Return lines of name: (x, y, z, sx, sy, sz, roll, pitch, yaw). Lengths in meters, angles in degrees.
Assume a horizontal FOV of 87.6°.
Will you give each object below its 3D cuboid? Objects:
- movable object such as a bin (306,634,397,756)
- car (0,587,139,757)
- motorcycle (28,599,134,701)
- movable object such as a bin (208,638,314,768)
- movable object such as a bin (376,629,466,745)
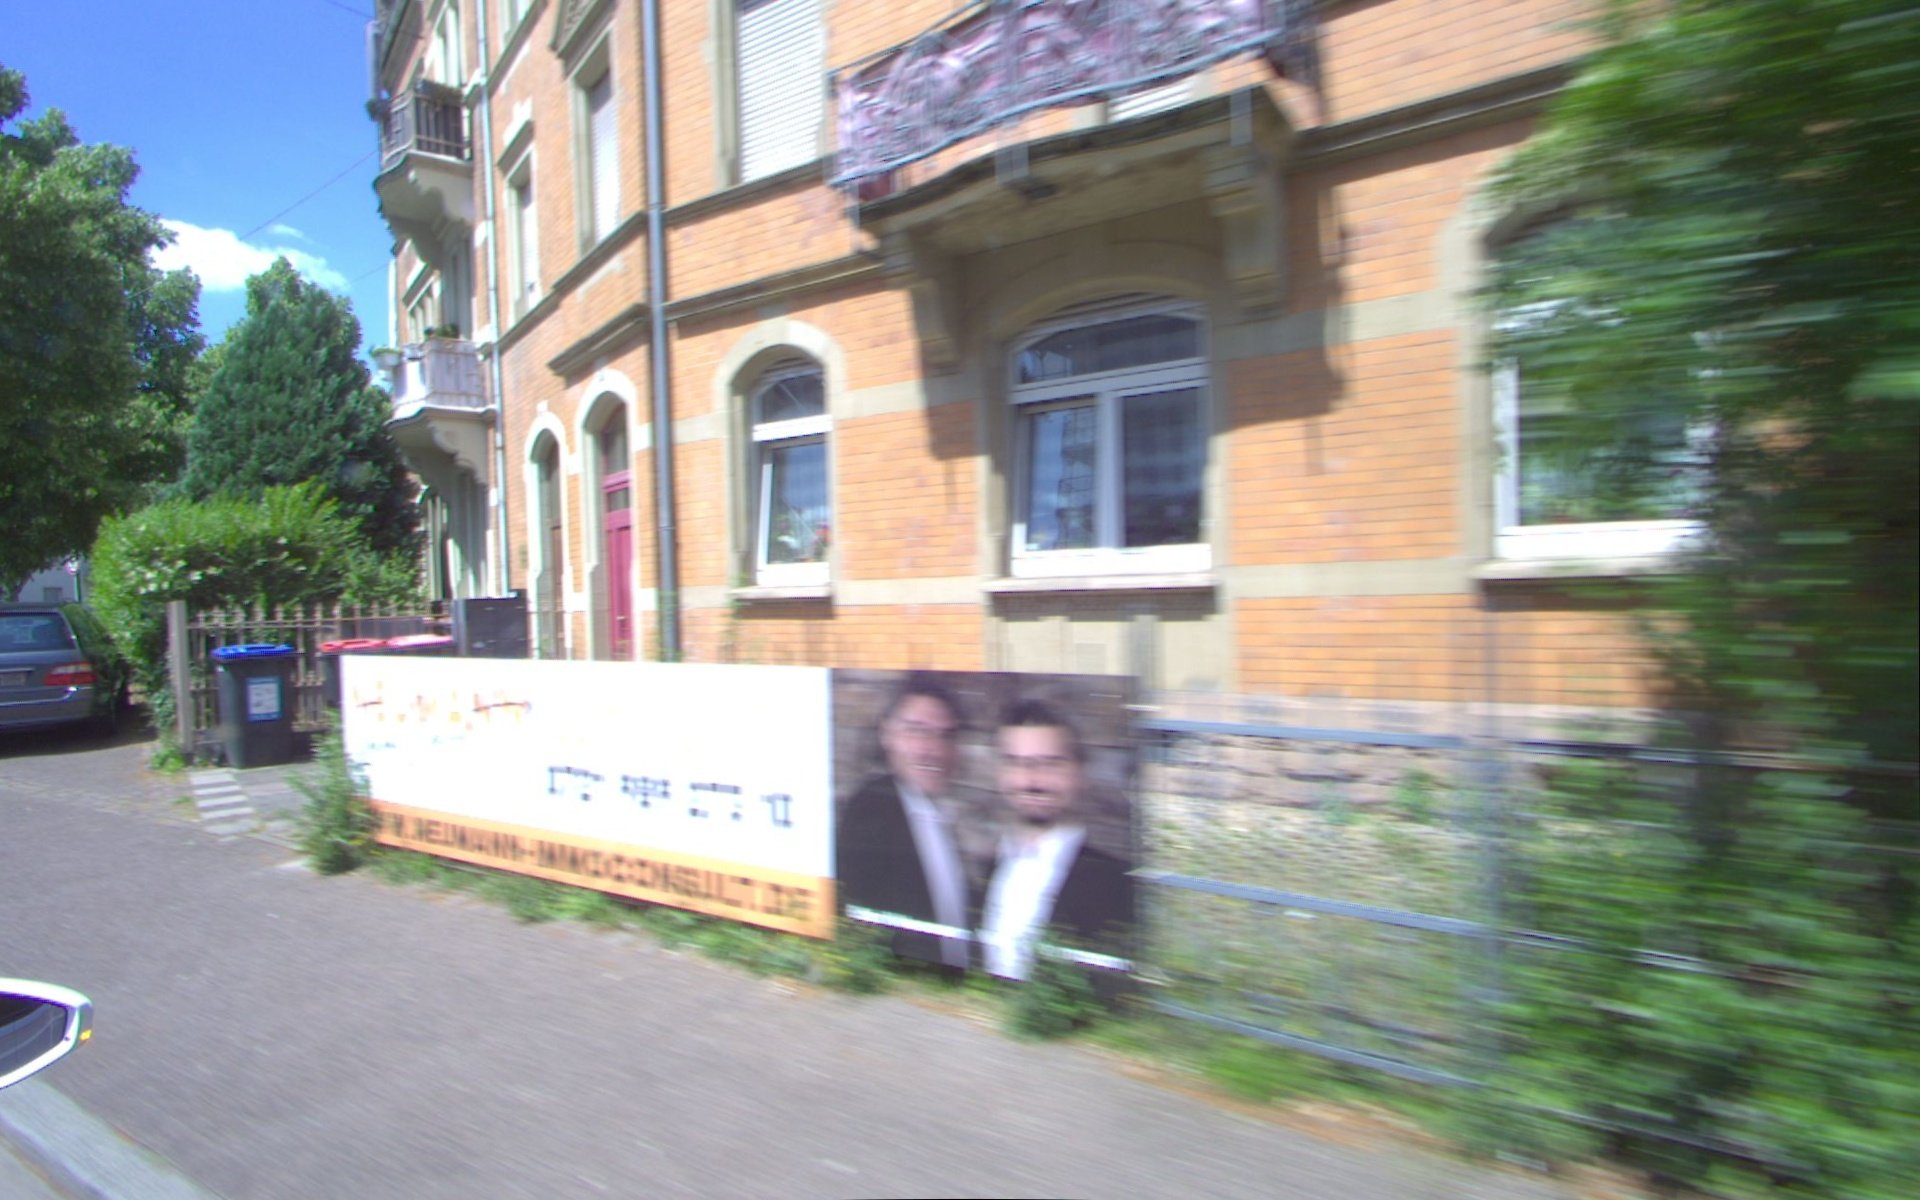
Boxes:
movable object such as a bin: (-5.842, 0.884, 9.614, 0.697, 1.086, 0.549, 0, 1, 42)
car: (-10.819, 0.677, 11.574, 1.818, 1.570, 5.115, -2, 3, -37)
motorcycle: (-12.942, 0.685, 14.822, 0.921, 1.320, 2.263, -3, 3, -36)
movable object such as a bin: (-6.353, 0.905, 9.107, 0.630, 1.086, 0.645, 0, 1, 42)
movable object such as a bin: (-5.393, 0.843, 10.020, 0.697, 1.086, 0.572, 0, 1, 42)
